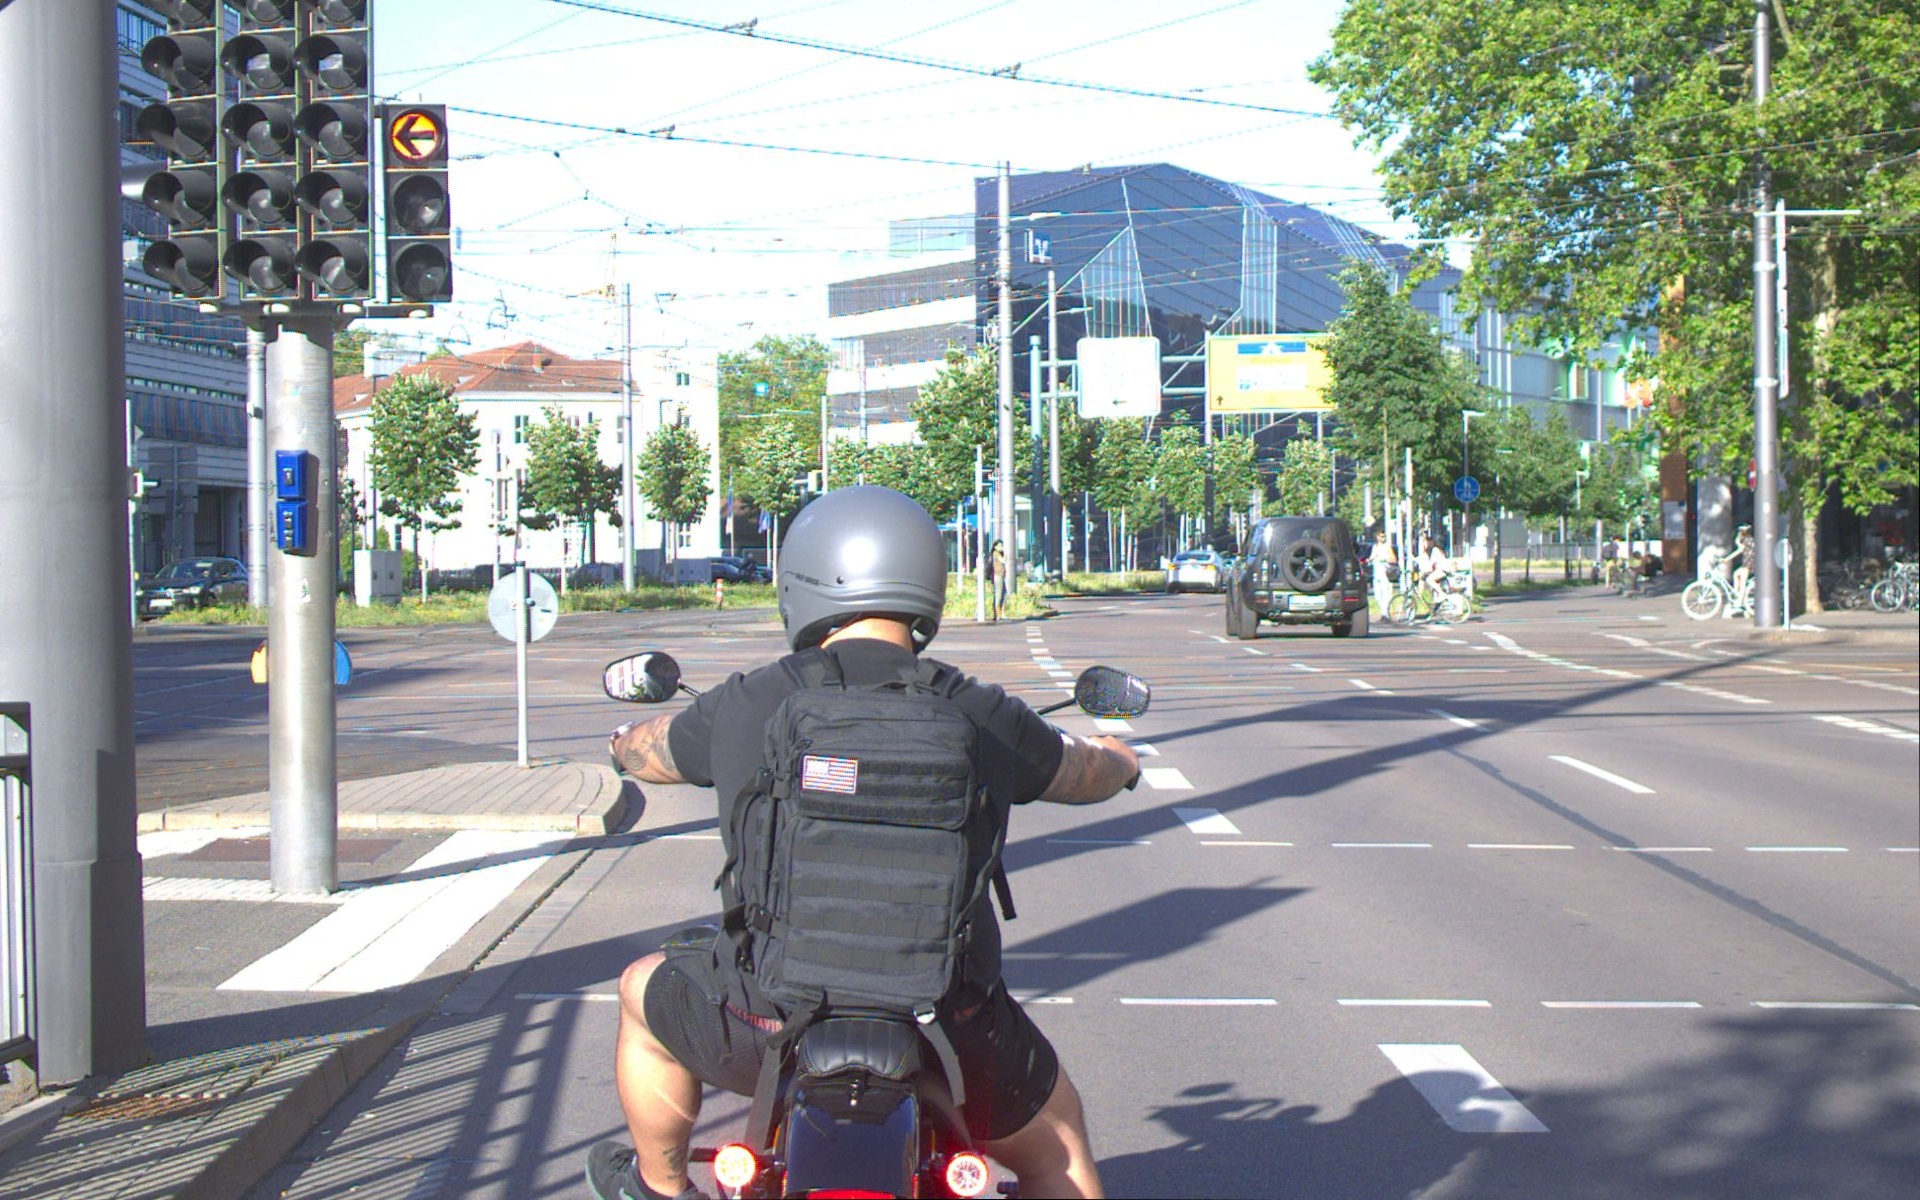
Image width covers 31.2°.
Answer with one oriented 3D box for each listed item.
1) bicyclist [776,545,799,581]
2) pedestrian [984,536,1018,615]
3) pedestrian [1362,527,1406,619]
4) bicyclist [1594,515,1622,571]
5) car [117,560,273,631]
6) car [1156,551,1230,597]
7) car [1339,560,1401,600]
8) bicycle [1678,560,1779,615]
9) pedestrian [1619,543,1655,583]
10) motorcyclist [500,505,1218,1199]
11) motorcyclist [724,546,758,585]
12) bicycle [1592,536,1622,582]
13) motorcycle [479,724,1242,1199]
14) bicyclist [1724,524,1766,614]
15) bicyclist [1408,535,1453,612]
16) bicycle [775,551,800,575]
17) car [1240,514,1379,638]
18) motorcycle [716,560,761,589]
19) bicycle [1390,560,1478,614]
[{"bbox_3d":[-8.094,-1.747,161.413,0.764,1.661,0.993,0,1,17],"label":"bicyclist"},{"bbox_3d":[0.825,-0.500,68.975,0.657,1.577,0.489,0,1,3],"label":"pedestrian"},{"bbox_3d":[8.545,-0.540,69.300,0.701,1.830,0.514,1,0,35],"label":"pedestrian"},{"bbox_3d":[21.351,-1.874,113.292,0.861,1.834,1.256,0,1,13],"label":"bicyclist"},{"bbox_3d":[-17.464,-0.122,78.679,1.792,1.461,4.309,-1,2,13],"label":"car"},{"bbox_3d":[7.808,-0.866,114.913,1.902,1.503,3.998,1,1,12],"label":"car"},{"bbox_3d":[15.427,-0.764,129.286,1.843,1.459,3.998,1,1,13],"label":"car"},{"bbox_3d":[14.586,-0.238,65.291,1.853,1.018,0.516,-1,0,11],"label":"bicycle"},{"bbox_3d":[17.861,-0.980,90.691,0.785,1.053,0.813,0,1,22],"label":"pedestrian"},{"bbox_3d":[-0.157,0.630,5.607,1.022,1.547,1.286,1,1,-1],"label":"motorcyclist"},{"bbox_3d":[-9.692,-1.539,151.968,1.019,1.725,1.459,0,1,18],"label":"motorcyclist"},{"bbox_3d":[21.312,-1.369,113.220,0.861,1.476,2.575,0,1,13],"label":"bicycle"},{"bbox_3d":[-0.150,0.840,5.733,1.005,1.121,2.323,1,1,-1],"label":"motorcycle"},{"bbox_3d":[14.891,-0.589,65.242,0.743,1.689,0.570,-1,0,11],"label":"bicyclist"},{"bbox_3d":[9.199,-0.513,67.206,0.743,1.498,0.569,-1,0,23],"label":"bicyclist"},{"bbox_3d":[-8.092,-1.731,161.437,0.643,1.104,1.683,0,1,18],"label":"bicycle"},{"bbox_3d":[5.498,-0.384,54.548,2.053,1.867,4.226,1,1,4],"label":"car"},{"bbox_3d":[-9.761,-1.135,151.786,0.984,1.227,2.940,0,1,17],"label":"motorcycle"},{"bbox_3d":[9.258,-0.253,67.163,1.629,1.018,0.516,-1,0,23],"label":"bicycle"}]
